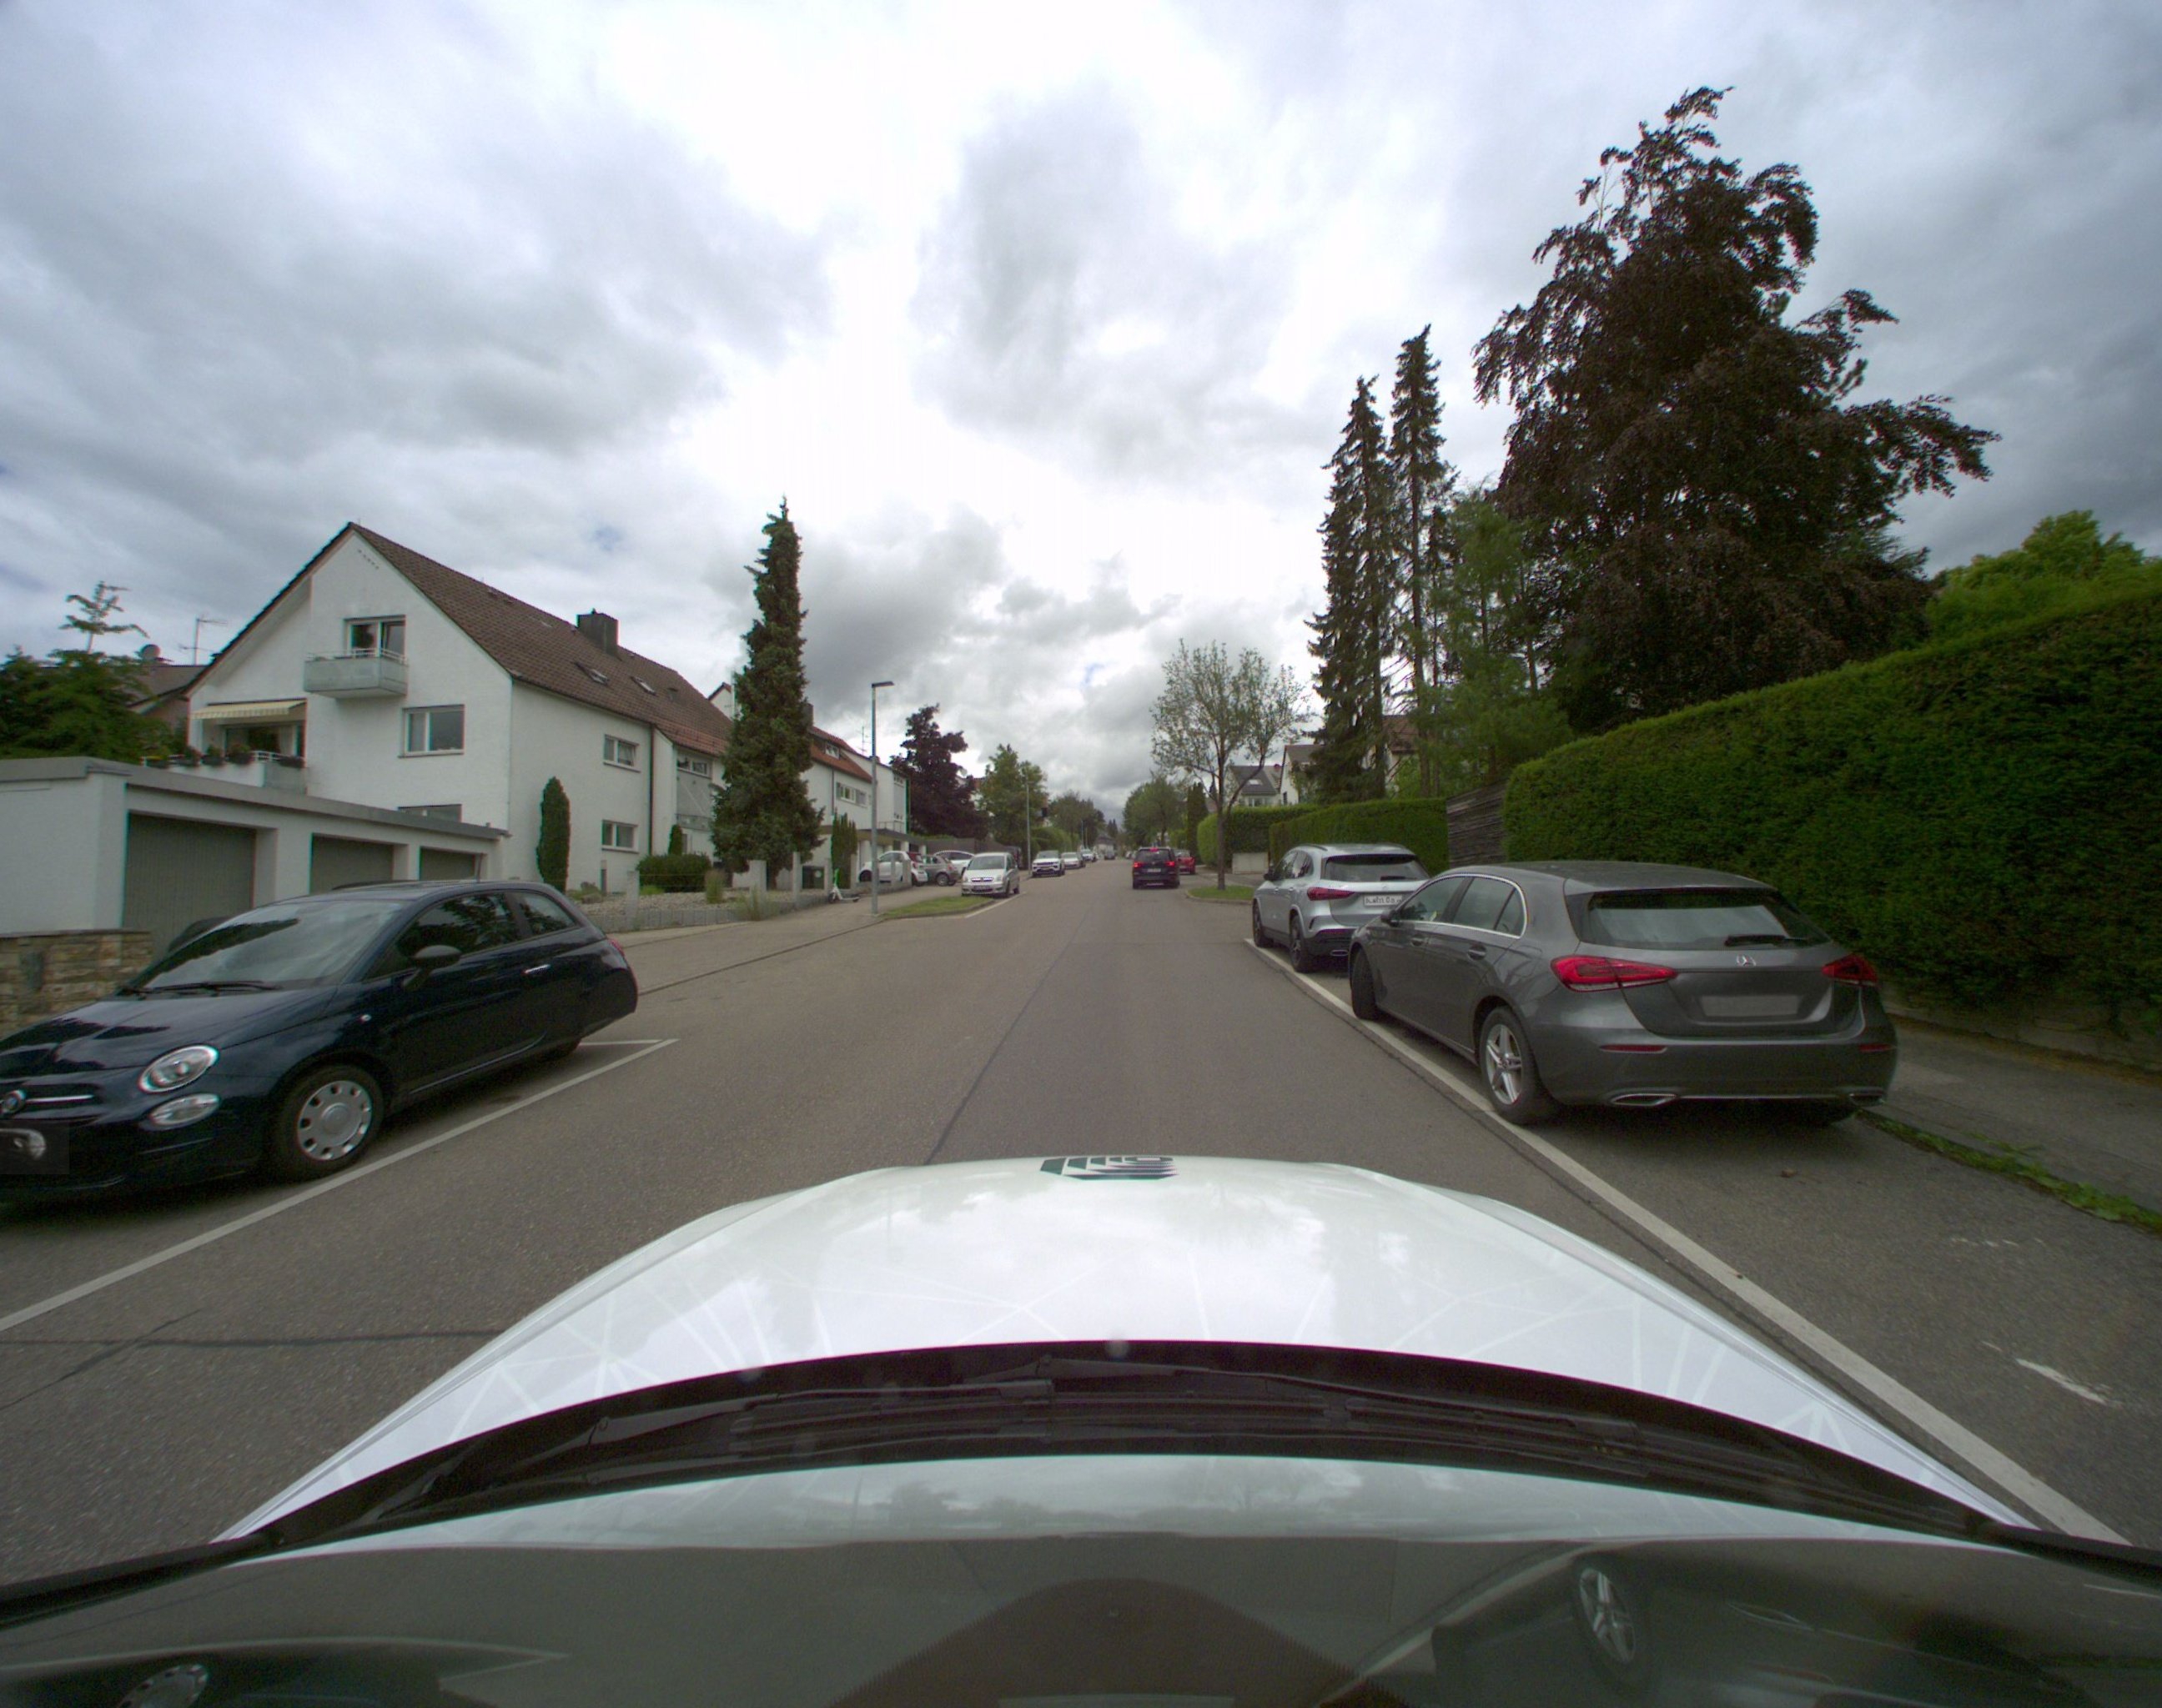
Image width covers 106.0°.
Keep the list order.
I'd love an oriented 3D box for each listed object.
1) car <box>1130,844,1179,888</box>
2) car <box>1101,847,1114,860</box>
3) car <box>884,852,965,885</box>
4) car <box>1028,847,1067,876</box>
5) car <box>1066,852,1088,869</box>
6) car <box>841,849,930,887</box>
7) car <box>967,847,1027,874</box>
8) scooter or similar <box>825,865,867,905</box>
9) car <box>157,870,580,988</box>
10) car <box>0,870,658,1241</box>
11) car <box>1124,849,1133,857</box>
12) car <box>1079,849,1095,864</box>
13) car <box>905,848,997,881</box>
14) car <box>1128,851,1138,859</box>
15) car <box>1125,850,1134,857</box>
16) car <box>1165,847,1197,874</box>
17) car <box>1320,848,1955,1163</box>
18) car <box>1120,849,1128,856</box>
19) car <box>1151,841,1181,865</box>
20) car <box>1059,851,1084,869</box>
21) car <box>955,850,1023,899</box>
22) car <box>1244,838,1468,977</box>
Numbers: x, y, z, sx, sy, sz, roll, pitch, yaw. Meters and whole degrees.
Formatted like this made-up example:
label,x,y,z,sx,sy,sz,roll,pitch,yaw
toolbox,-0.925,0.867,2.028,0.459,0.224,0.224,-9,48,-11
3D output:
label,x,y,z,sx,sy,sz,roll,pitch,yaw
car,2.948,0.454,33.071,1.839,1.611,4.316,-1,0,4
car,4.321,-0.095,130.439,1.877,1.851,4.405,-2,0,3
car,-7.459,0.698,38.933,3.413,1.512,1.694,1,-1,4
car,-2.067,0.439,51.364,1.829,1.666,4.413,-3,0,4
car,-0.352,0.561,74.892,1.719,1.423,4.083,-3,0,4
car,-8.599,0.626,35.921,3.413,1.578,1.659,1,-1,4
car,-6.398,0.501,62.352,4.046,1.950,2.006,-2,-1,11
scooter or similar,-7.199,0.924,25.018,0.470,1.148,1.462,0,0,19
car,-10.002,1.004,11.737,4.275,1.367,1.903,-2,0,-3
car,-4.738,0.938,5.355,1.869,1.536,3.511,-2,0,4
car,10.261,-0.256,176.305,1.660,1.668,3.466,-1,0,-1
car,0.689,0.256,94.507,1.716,1.540,4.001,-3,0,1
car,-6.780,0.536,42.691,4.394,1.629,1.912,1,0,2
car,9.569,0.134,149.525,1.660,1.501,3.466,-1,0,-1
car,10.064,-0.113,169.290,1.660,1.501,3.466,-1,0,-1
car,5.945,0.366,48.818,1.654,1.508,3.762,-1,0,3
car,3.233,0.721,5.928,1.848,1.464,4.173,-1,0,2
car,10.059,-0.364,191.541,1.638,1.668,3.466,-1,0,-1
car,6.049,-0.078,58.465,1.985,1.618,4.518,0,0,4
car,-0.797,0.466,70.181,1.830,1.422,4.411,-3,0,3
car,-3.274,0.691,29.649,1.753,1.563,3.859,-3,0,3
car,3.596,0.626,11.510,1.848,1.582,4.173,-1,0,2
